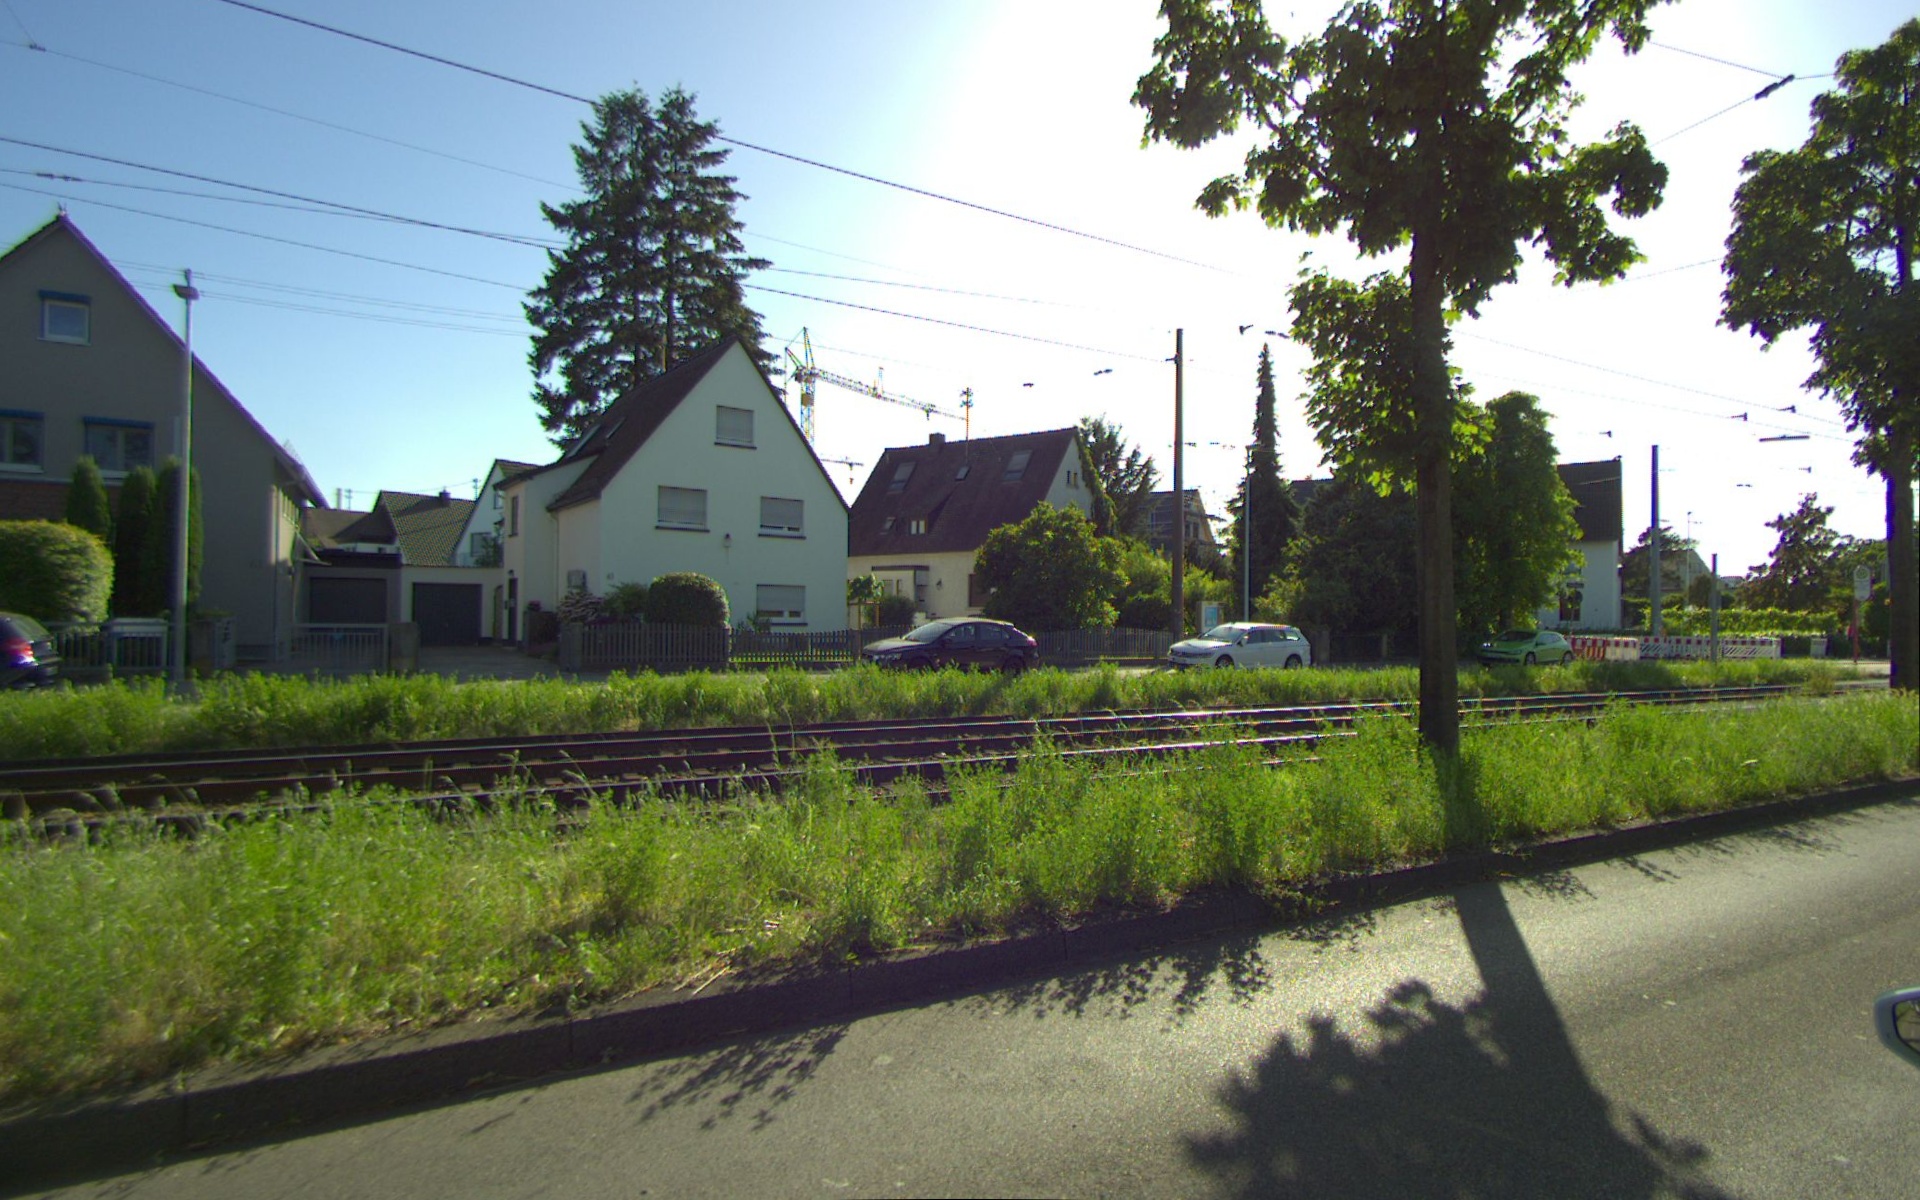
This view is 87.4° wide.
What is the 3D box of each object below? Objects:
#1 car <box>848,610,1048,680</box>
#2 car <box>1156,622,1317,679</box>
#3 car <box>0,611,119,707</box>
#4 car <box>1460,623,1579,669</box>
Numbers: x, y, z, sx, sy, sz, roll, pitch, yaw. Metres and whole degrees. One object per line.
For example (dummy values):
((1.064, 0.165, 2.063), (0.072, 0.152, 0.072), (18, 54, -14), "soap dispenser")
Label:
((-0.250, 1.054, 23.875), (4.389, 1.485, 1.898), (2, 0, -31), "car")
((8.024, 1.441, 28.983), (4.563, 1.492, 1.873), (2, 0, -32), "car")
((-15.475, 0.851, 14.895), (4.258, 1.389, 1.984), (1, -1, -30), "car")
((20.407, 1.665, 36.601), (4.020, 1.521, 1.984), (2, 0, -30), "car")
